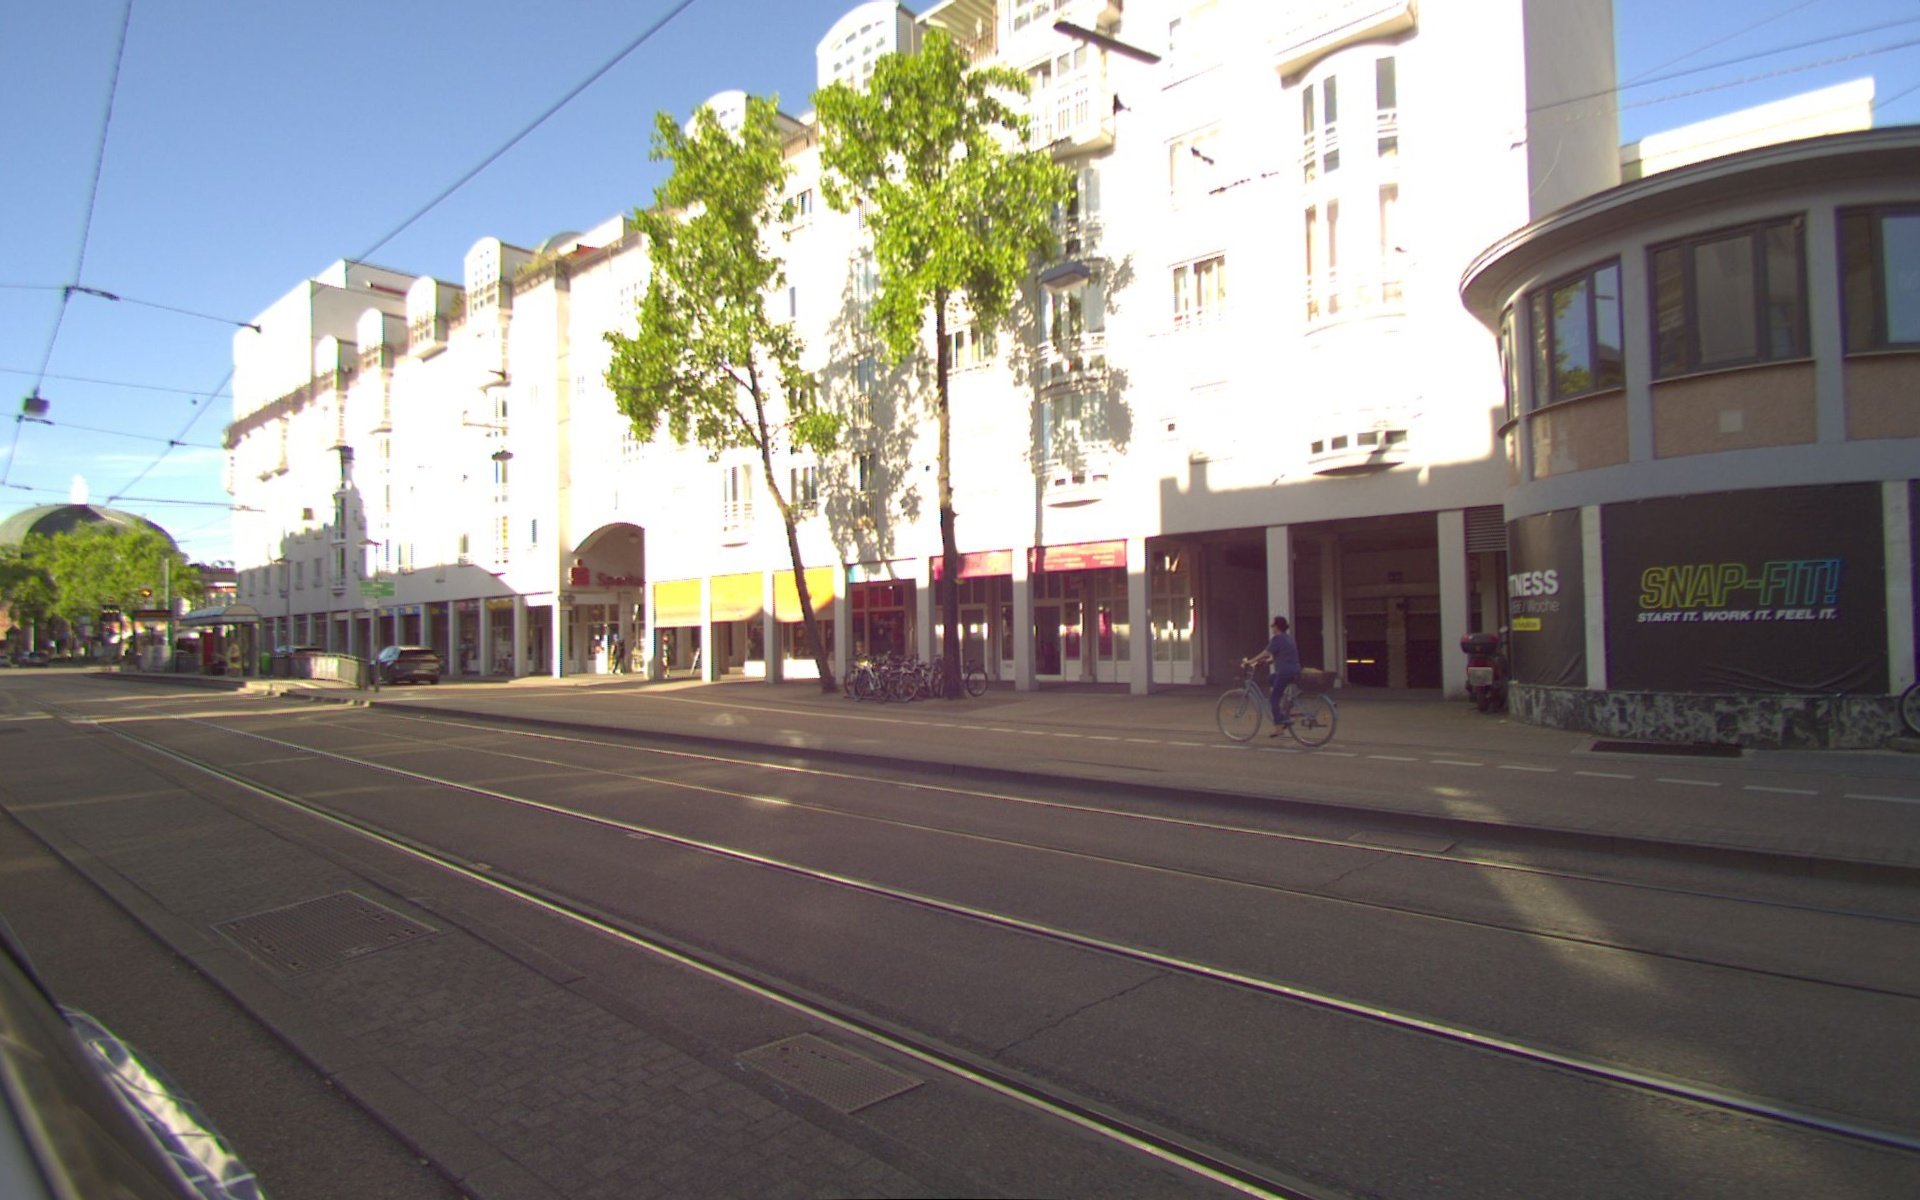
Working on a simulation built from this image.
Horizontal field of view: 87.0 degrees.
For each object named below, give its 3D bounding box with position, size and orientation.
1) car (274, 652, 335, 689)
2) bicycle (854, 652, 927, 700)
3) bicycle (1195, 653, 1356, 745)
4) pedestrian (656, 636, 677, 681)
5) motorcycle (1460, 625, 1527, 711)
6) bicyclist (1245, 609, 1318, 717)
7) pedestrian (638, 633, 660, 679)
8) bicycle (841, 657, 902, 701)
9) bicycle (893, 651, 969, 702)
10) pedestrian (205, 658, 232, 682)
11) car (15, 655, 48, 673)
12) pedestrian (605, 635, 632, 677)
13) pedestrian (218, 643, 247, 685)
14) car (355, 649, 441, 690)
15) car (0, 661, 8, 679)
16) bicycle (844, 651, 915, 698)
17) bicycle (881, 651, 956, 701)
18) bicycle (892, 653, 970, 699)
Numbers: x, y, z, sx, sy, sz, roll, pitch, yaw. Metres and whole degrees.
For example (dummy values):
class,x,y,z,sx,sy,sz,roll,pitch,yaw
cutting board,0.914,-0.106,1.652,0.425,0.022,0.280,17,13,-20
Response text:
class,x,y,z,sx,sy,sz,roll,pitch,yaw
car,-32.240,3.457,49.708,1.758,1.681,4.776,2,-4,-42
bicycle,-1.677,1.829,24.625,1.850,1.085,0.465,0,-3,-41
bicycle,4.149,1.297,13.442,0.557,1.132,2.005,5,-6,-44
pedestrian,-10.879,2.180,37.535,0.522,1.657,0.556,-4,-4,41
motorcycle,8.594,1.064,16.266,0.673,1.272,1.965,-3,-2,34
bicyclist,4.246,0.817,13.379,0.556,1.372,0.719,1,-3,-44
pedestrian,-11.367,2.039,36.959,0.522,1.657,0.556,-3,-3,41
bicycle,-2.042,1.794,23.150,0.464,0.939,1.757,0,-3,-39
bicycle,-0.645,1.739,23.334,1.850,1.085,0.465,0,-3,-41
pedestrian,-32.484,3.080,44.337,0.747,0.996,0.784,-4,-3,41
car,-88.872,6.131,96.824,3.998,1.630,1.972,-4,-3,42
pedestrian,-13.819,2.266,40.920,0.730,1.657,0.737,-3,-3,41
pedestrian,-29.691,2.610,41.303,0.747,1.657,0.784,-4,-3,41
car,-22.341,2.755,40.187,4.268,1.552,1.759,-3,-5,44
car,-105.266,7.680,110.099,3.995,1.918,1.974,-3,-3,39
bicycle,-1.992,1.840,25.236,1.851,1.085,0.512,1,-3,-44
bicycle,-0.961,1.762,23.712,1.850,1.085,0.465,0,-3,-41
bicycle,-0.638,1.688,22.639,1.726,0.939,0.571,0,-3,-40
